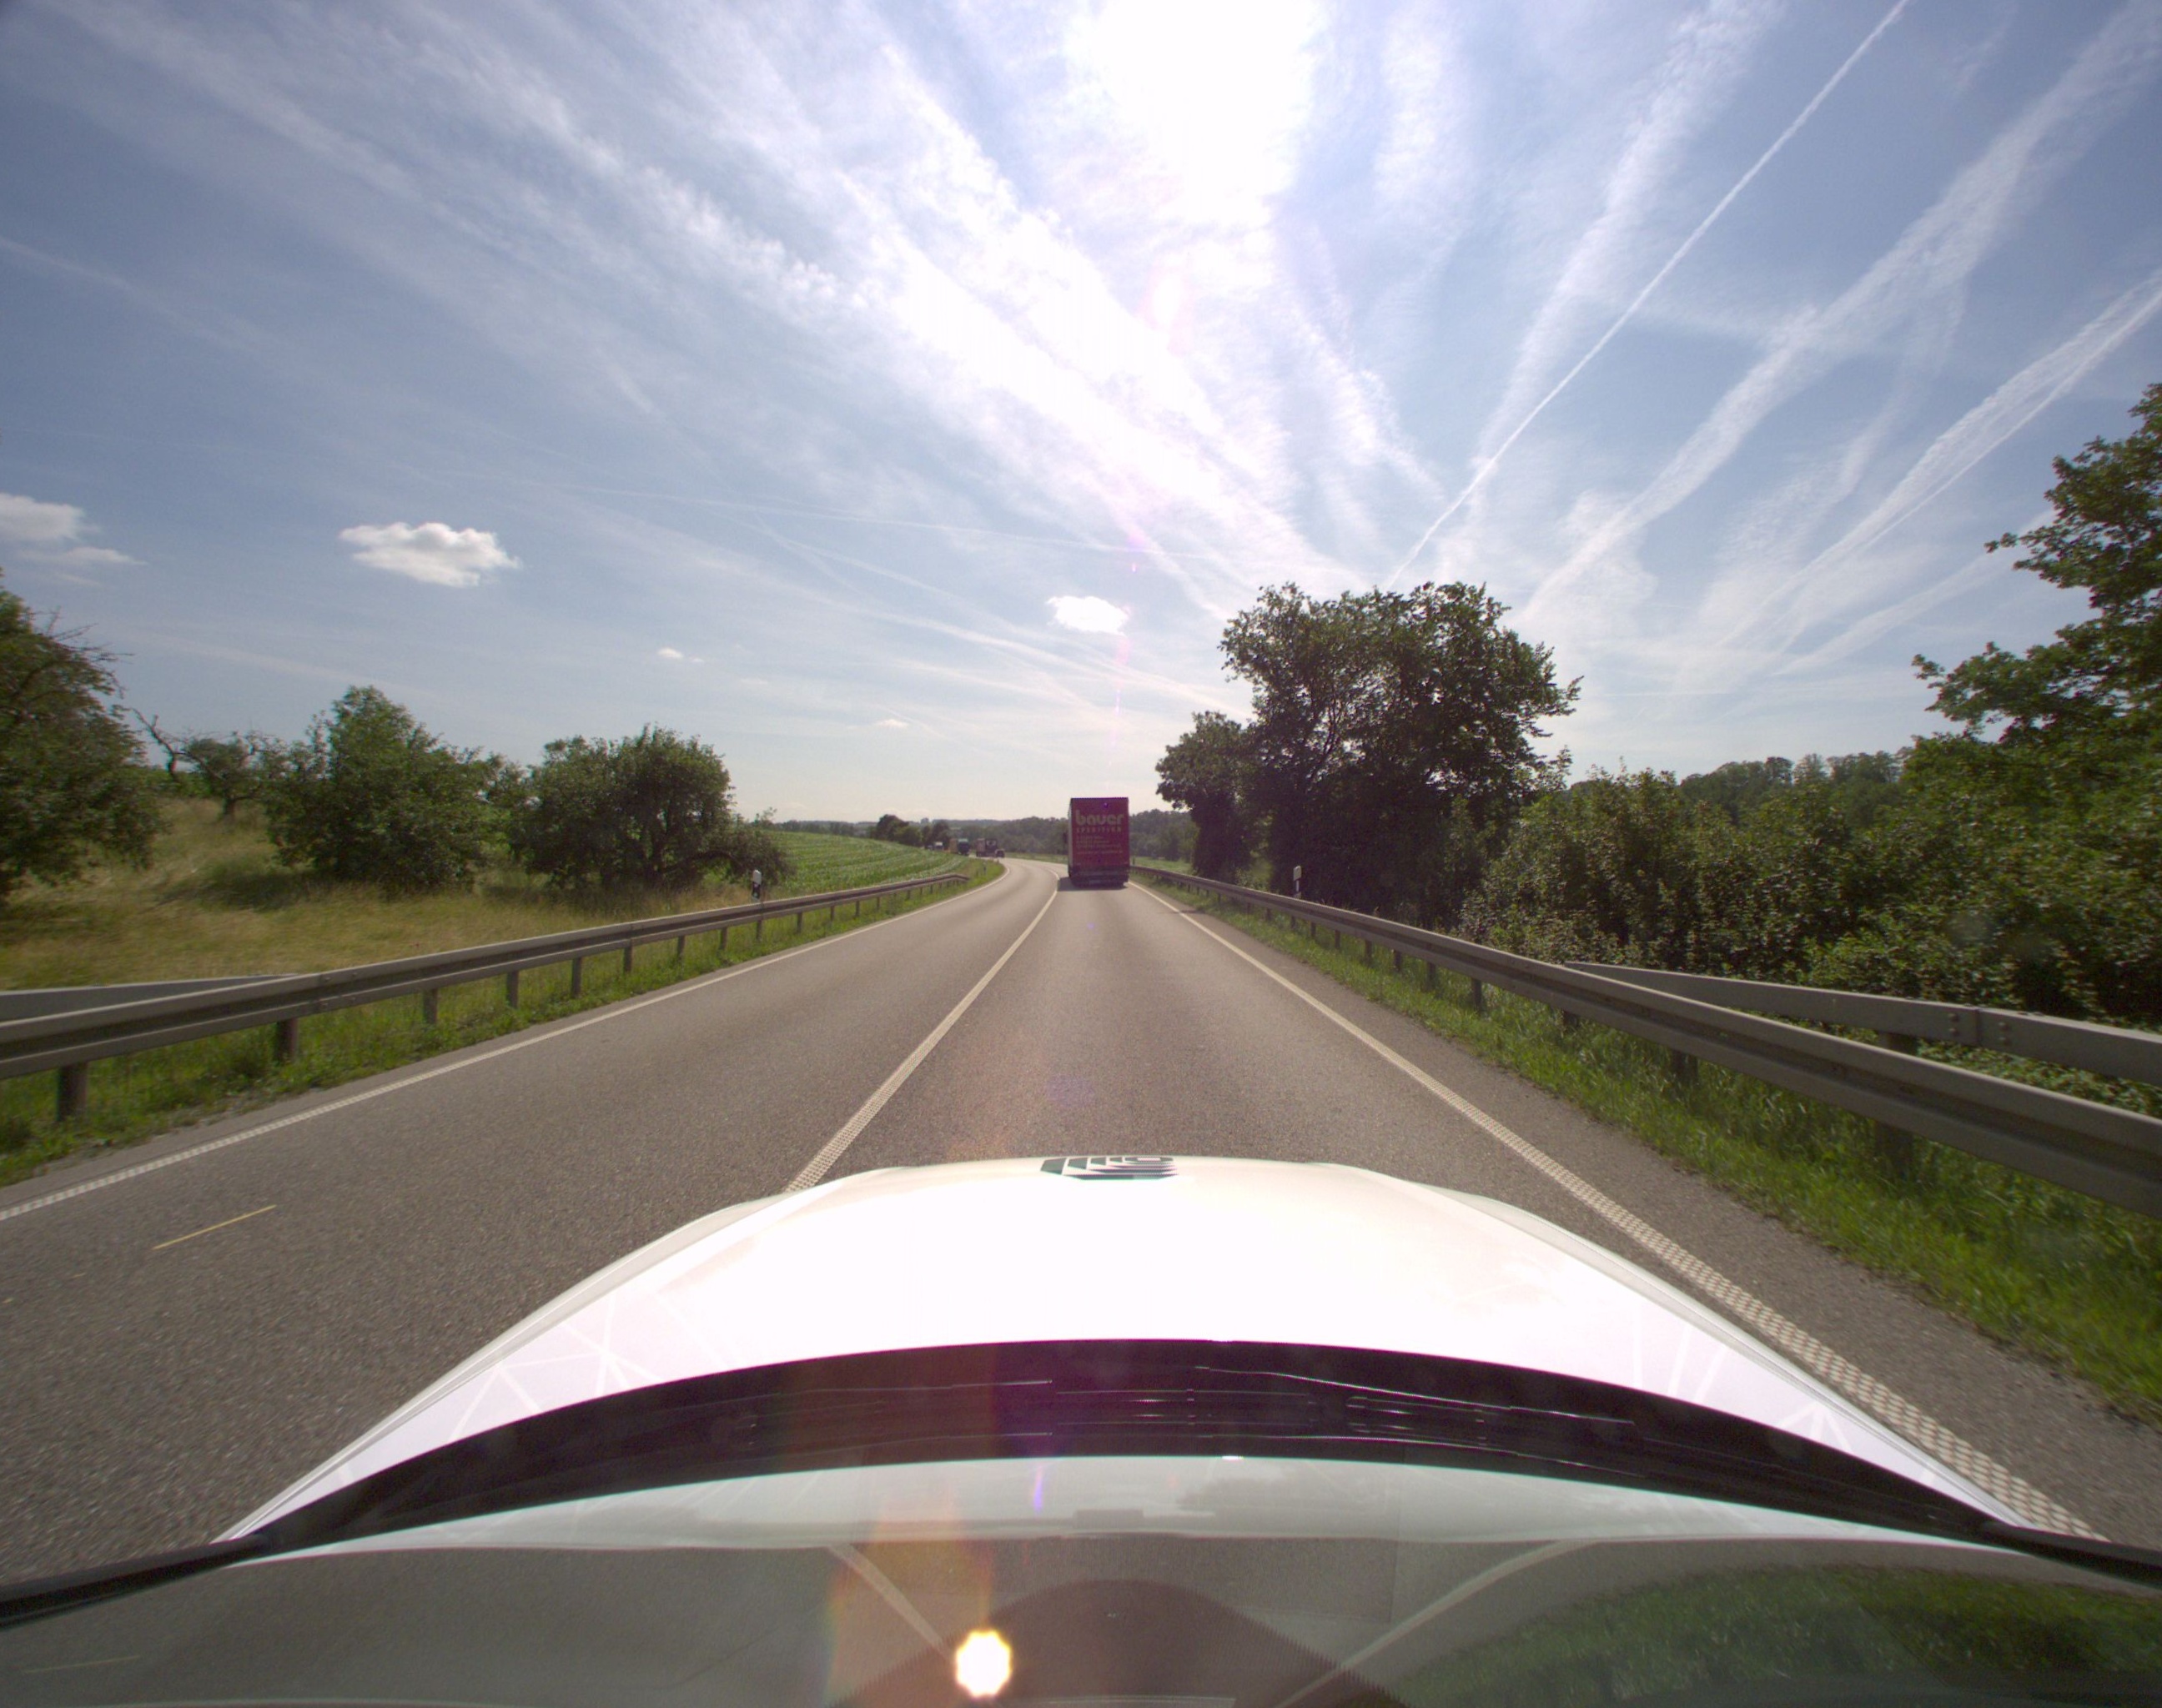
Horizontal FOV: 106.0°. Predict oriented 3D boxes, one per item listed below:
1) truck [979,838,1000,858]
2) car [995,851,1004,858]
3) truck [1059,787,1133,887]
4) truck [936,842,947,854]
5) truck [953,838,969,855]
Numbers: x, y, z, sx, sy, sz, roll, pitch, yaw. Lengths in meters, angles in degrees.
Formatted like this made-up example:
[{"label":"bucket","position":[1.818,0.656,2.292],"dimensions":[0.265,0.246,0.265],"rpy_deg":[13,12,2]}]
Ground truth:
[{"label":"truck","position":[-20.755,-1.354,183.611],"dimensions":[3.643,4.292,11.936],"rpy_deg":[-1,0,-12]},{"label":"car","position":[-16.254,0.083,163.002],"dimensions":[1.578,1.501,3.872],"rpy_deg":[-1,0,-3]},{"label":"truck","position":[0.893,-0.733,39.343],"dimensions":[3.080,4.262,8.323],"rpy_deg":[-1,0,4]},{"label":"truck","position":[-42.201,-1.732,246.405],"dimensions":[2.743,3.578,9.687],"rpy_deg":[0,0,-12]},{"label":"truck","position":[-28.960,-1.771,196.573],"dimensions":[2.773,3.998,16.958],"rpy_deg":[0,0,-12]}]
